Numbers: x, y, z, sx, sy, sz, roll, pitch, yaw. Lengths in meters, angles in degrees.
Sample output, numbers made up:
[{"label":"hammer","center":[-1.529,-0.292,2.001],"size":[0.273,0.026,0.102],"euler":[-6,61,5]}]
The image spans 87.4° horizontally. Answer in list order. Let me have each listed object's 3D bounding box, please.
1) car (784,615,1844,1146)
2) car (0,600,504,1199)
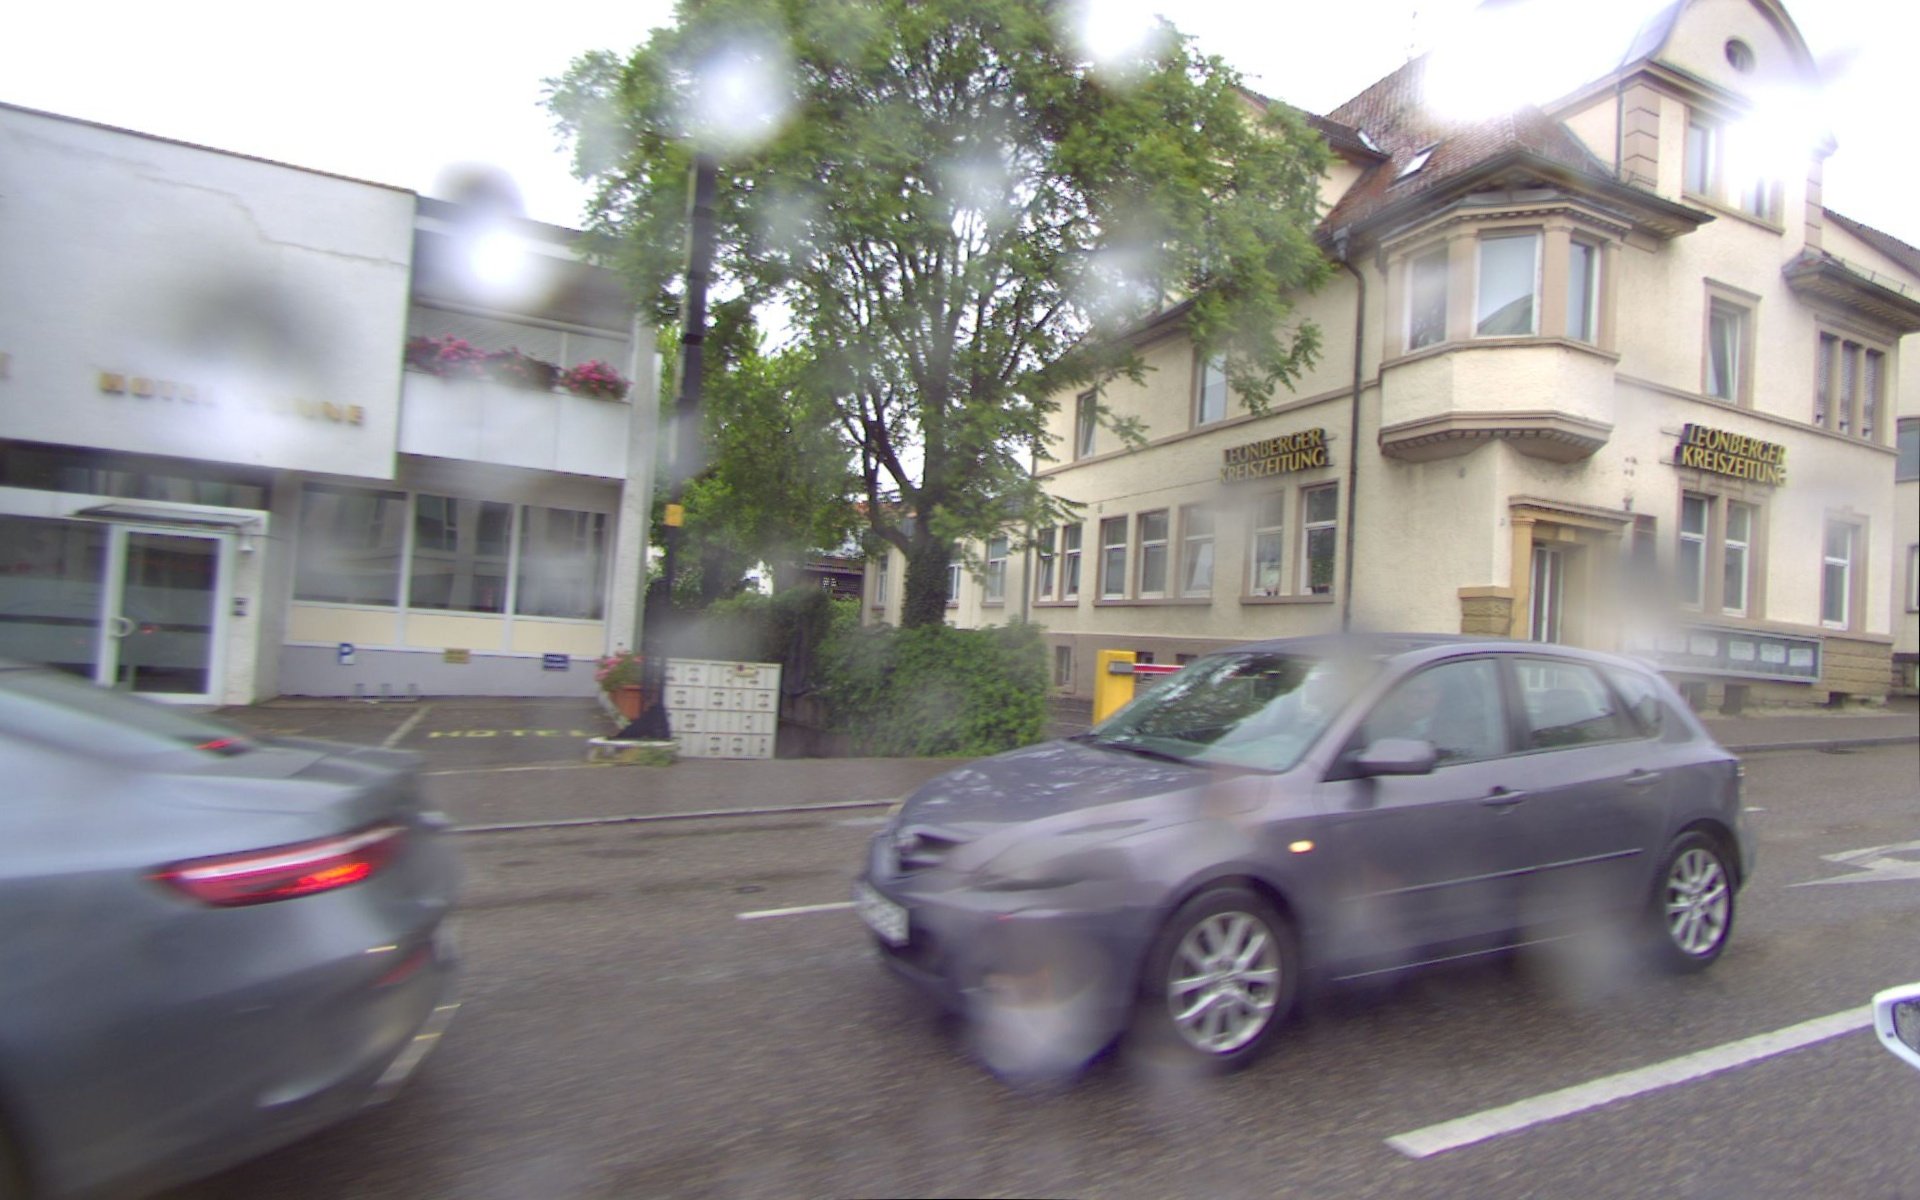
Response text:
[{"label":"car","center":[1.699,0.852,4.582],"size":[4.625,1.458,1.794],"euler":[2,-1,-25]},{"label":"car","center":[-3.649,0.696,2.014],"size":[4.948,1.460,1.935],"euler":[2,-1,-25]}]
